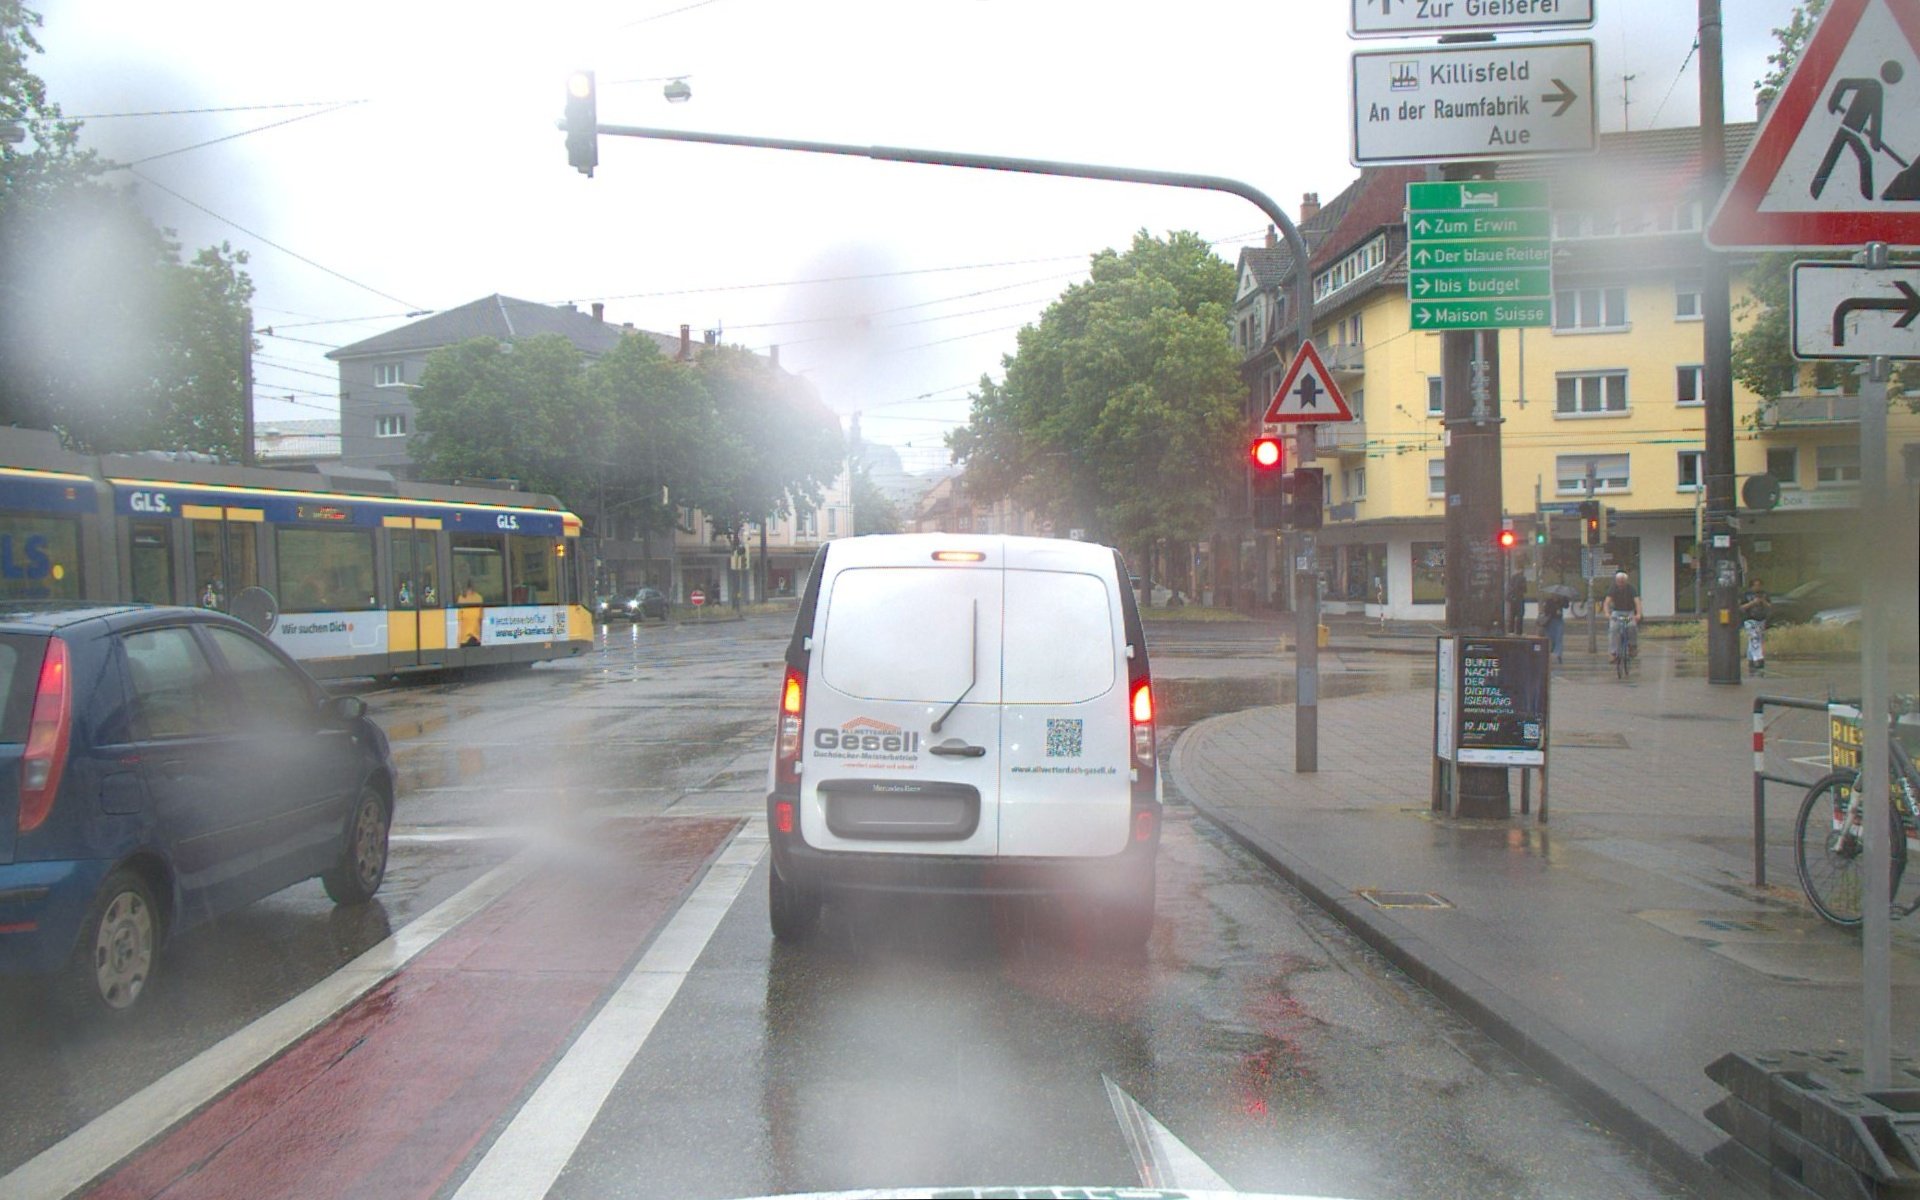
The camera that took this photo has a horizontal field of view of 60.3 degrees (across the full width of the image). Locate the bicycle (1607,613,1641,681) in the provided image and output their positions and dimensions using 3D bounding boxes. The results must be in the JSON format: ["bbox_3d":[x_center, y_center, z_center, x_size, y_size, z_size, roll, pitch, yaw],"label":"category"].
[{"bbox_3d":[11.309,0.781,28.140,0.449,1.045,1.900,0,1,24],"label":"bicycle"}]

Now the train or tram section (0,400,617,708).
[{"bbox_3d":[-10.635,-0.523,25.712,3.466,3.472,15.514,1,0,16],"label":"train or tram section"}]

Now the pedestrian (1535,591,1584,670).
[{"bbox_3d":[11.973,0.605,33.028,0.809,1.561,0.614,1,0,-39],"label":"pedestrian"}]

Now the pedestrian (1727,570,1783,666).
[{"bbox_3d":[14.384,0.308,29.924,0.887,1.698,1.019,0,0,27],"label":"pedestrian"}]

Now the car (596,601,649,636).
[{"bbox_3d":[-15.884,0.857,77.956,1.747,1.579,3.999,0,0,-1],"label":"car"}]

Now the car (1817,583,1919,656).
[{"bbox_3d":[20.960,0.404,35.916,3.854,1.516,1.808,0,1,15],"label":"car"}]

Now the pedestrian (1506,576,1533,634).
[{"bbox_3d":[14.739,0.129,43.594,0.608,1.526,0.552,0,0,25],"label":"pedestrian"}]

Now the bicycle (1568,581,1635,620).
[{"bbox_3d":[21.549,0.007,55.602,2.056,1.283,0.532,0,1,14],"label":"bicycle"}]

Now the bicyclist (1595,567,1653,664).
[{"bbox_3d":[11.287,0.260,28.121,0.861,1.611,0.859,0,0,25],"label":"bicyclist"}]

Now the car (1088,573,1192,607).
[{"bbox_3d":[7.514,-0.417,69.053,4.088,1.362,1.518,0,1,-8],"label":"car"}]

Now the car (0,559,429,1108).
[{"bbox_3d":[-3.608,0.675,6.733,1.692,1.606,3.820,0,0,-1],"label":"car"}]

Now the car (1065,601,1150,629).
[{"bbox_3d":[6.284,0.629,70.543,3.378,1.150,1.469,0,0,-9],"label":"car"}]

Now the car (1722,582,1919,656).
[{"bbox_3d":[20.857,0.464,39.084,4.832,1.672,2.001,0,-2,11],"label":"car"}]

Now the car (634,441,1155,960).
[{"bbox_3d":[-0.292,0.401,9.038,2.058,2.047,4.962,0,0,-1],"label":"car"}]

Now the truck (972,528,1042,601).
[{"bbox_3d":[3.362,-2.520,124.420,3.402,5.176,15.289,0,0,-5],"label":"truck"}]

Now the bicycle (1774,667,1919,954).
[{"bbox_3d":[4.251,0.913,7.091,0.503,1.126,2.017,3,0,1],"label":"bicycle"}]
